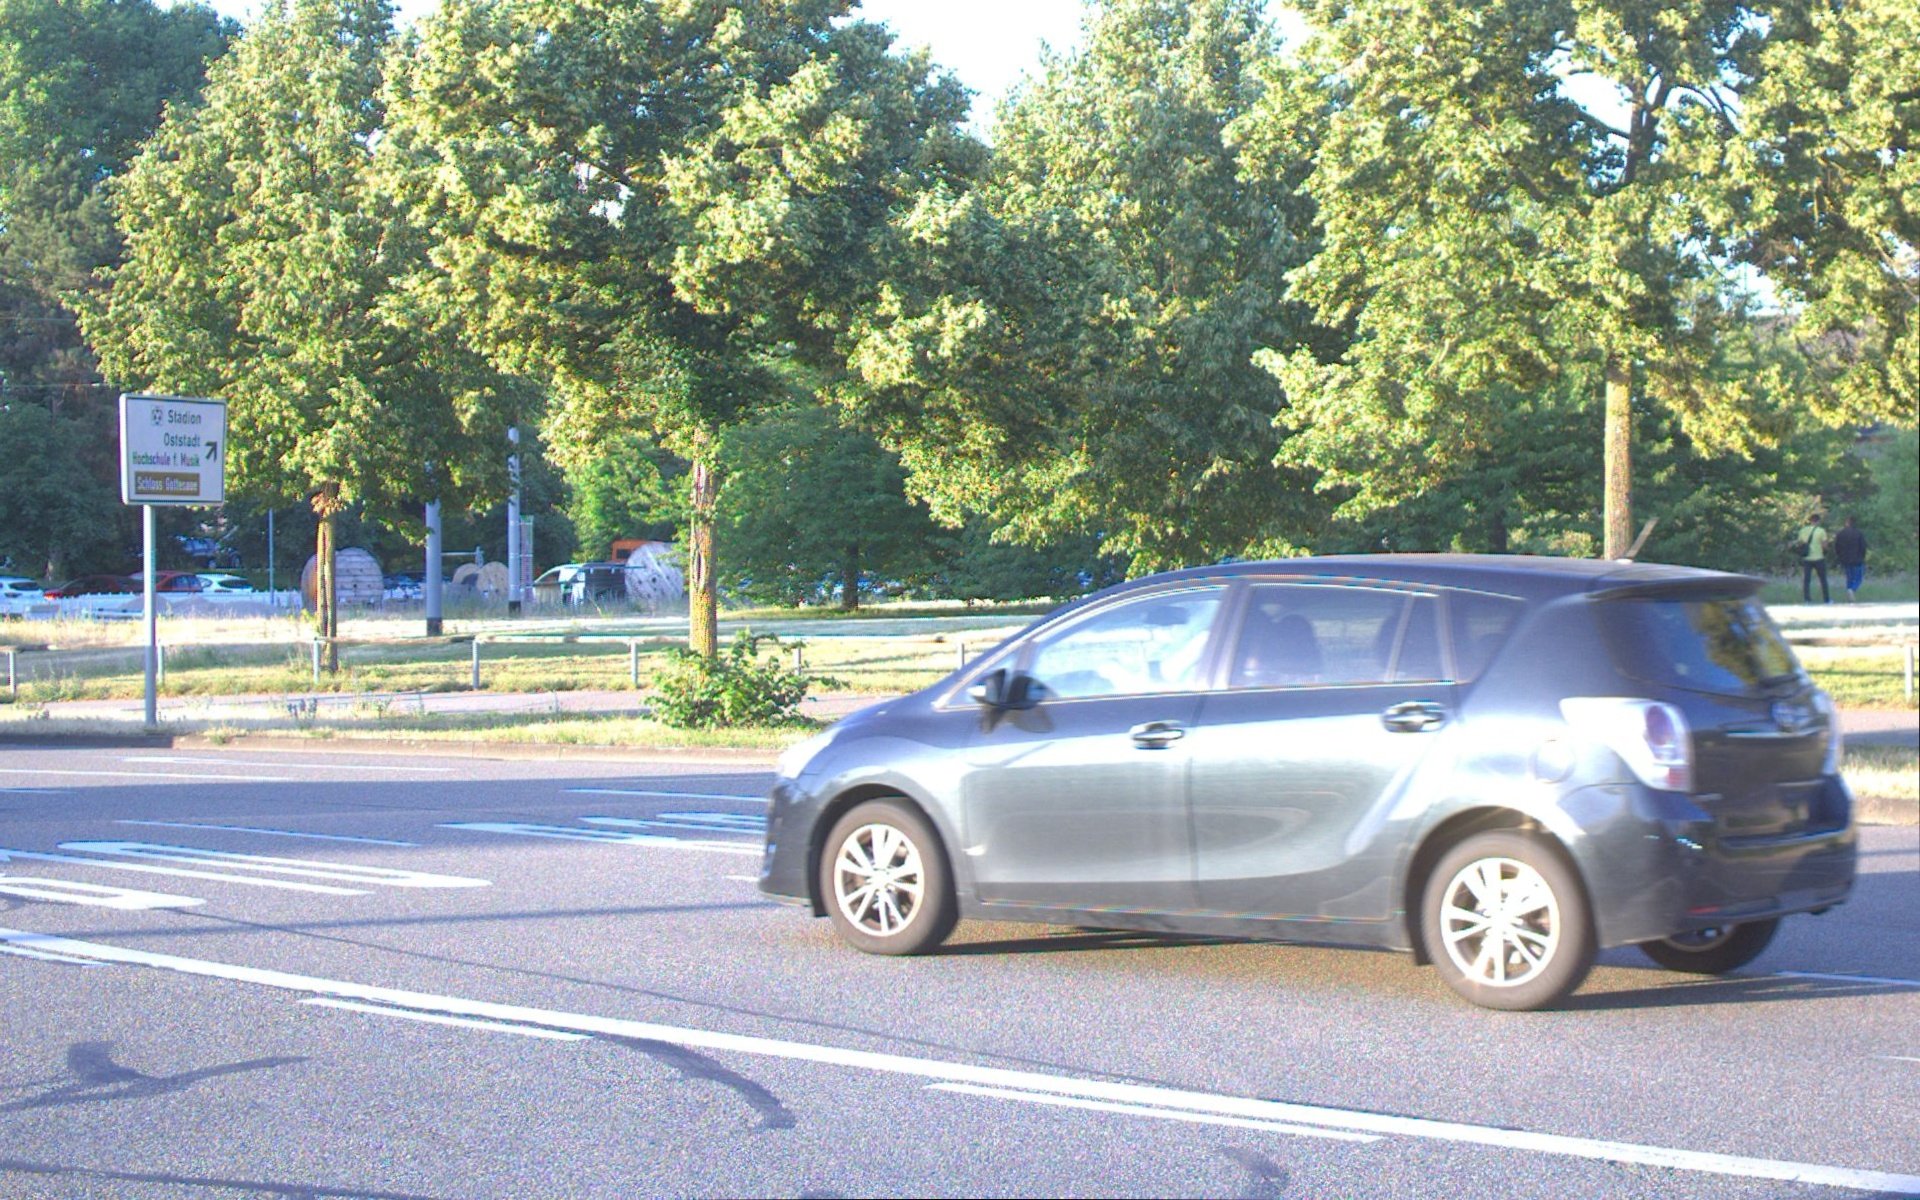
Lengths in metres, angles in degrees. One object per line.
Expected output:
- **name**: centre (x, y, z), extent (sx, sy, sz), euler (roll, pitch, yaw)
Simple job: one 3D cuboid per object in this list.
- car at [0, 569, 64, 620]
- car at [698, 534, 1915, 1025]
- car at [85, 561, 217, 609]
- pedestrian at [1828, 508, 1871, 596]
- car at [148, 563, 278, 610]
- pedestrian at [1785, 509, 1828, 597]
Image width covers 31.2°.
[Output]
- **car**: centre (-30.341, -0.189, 107.975), extent (3.994, 1.545, 1.997), euler (0, 1, 31)
- **car**: centre (1.249, 0.586, 13.453), extent (4.451, 1.627, 1.799), euler (0, 0, 37)
- **car**: centre (-26.864, -0.494, 114.092), extent (3.994, 1.545, 1.997), euler (0, 1, 31)
- **pedestrian**: centre (16.593, -0.901, 64.115), extent (0.530, 1.621, 0.619), euler (0, 1, 44)
- **car**: centre (-25.250, -0.461, 116.142), extent (3.994, 1.545, 1.997), euler (0, 1, 31)
- **pedestrian**: centre (15.813, -0.877, 64.215), extent (0.579, 1.621, 0.533), euler (-1, 1, -42)
